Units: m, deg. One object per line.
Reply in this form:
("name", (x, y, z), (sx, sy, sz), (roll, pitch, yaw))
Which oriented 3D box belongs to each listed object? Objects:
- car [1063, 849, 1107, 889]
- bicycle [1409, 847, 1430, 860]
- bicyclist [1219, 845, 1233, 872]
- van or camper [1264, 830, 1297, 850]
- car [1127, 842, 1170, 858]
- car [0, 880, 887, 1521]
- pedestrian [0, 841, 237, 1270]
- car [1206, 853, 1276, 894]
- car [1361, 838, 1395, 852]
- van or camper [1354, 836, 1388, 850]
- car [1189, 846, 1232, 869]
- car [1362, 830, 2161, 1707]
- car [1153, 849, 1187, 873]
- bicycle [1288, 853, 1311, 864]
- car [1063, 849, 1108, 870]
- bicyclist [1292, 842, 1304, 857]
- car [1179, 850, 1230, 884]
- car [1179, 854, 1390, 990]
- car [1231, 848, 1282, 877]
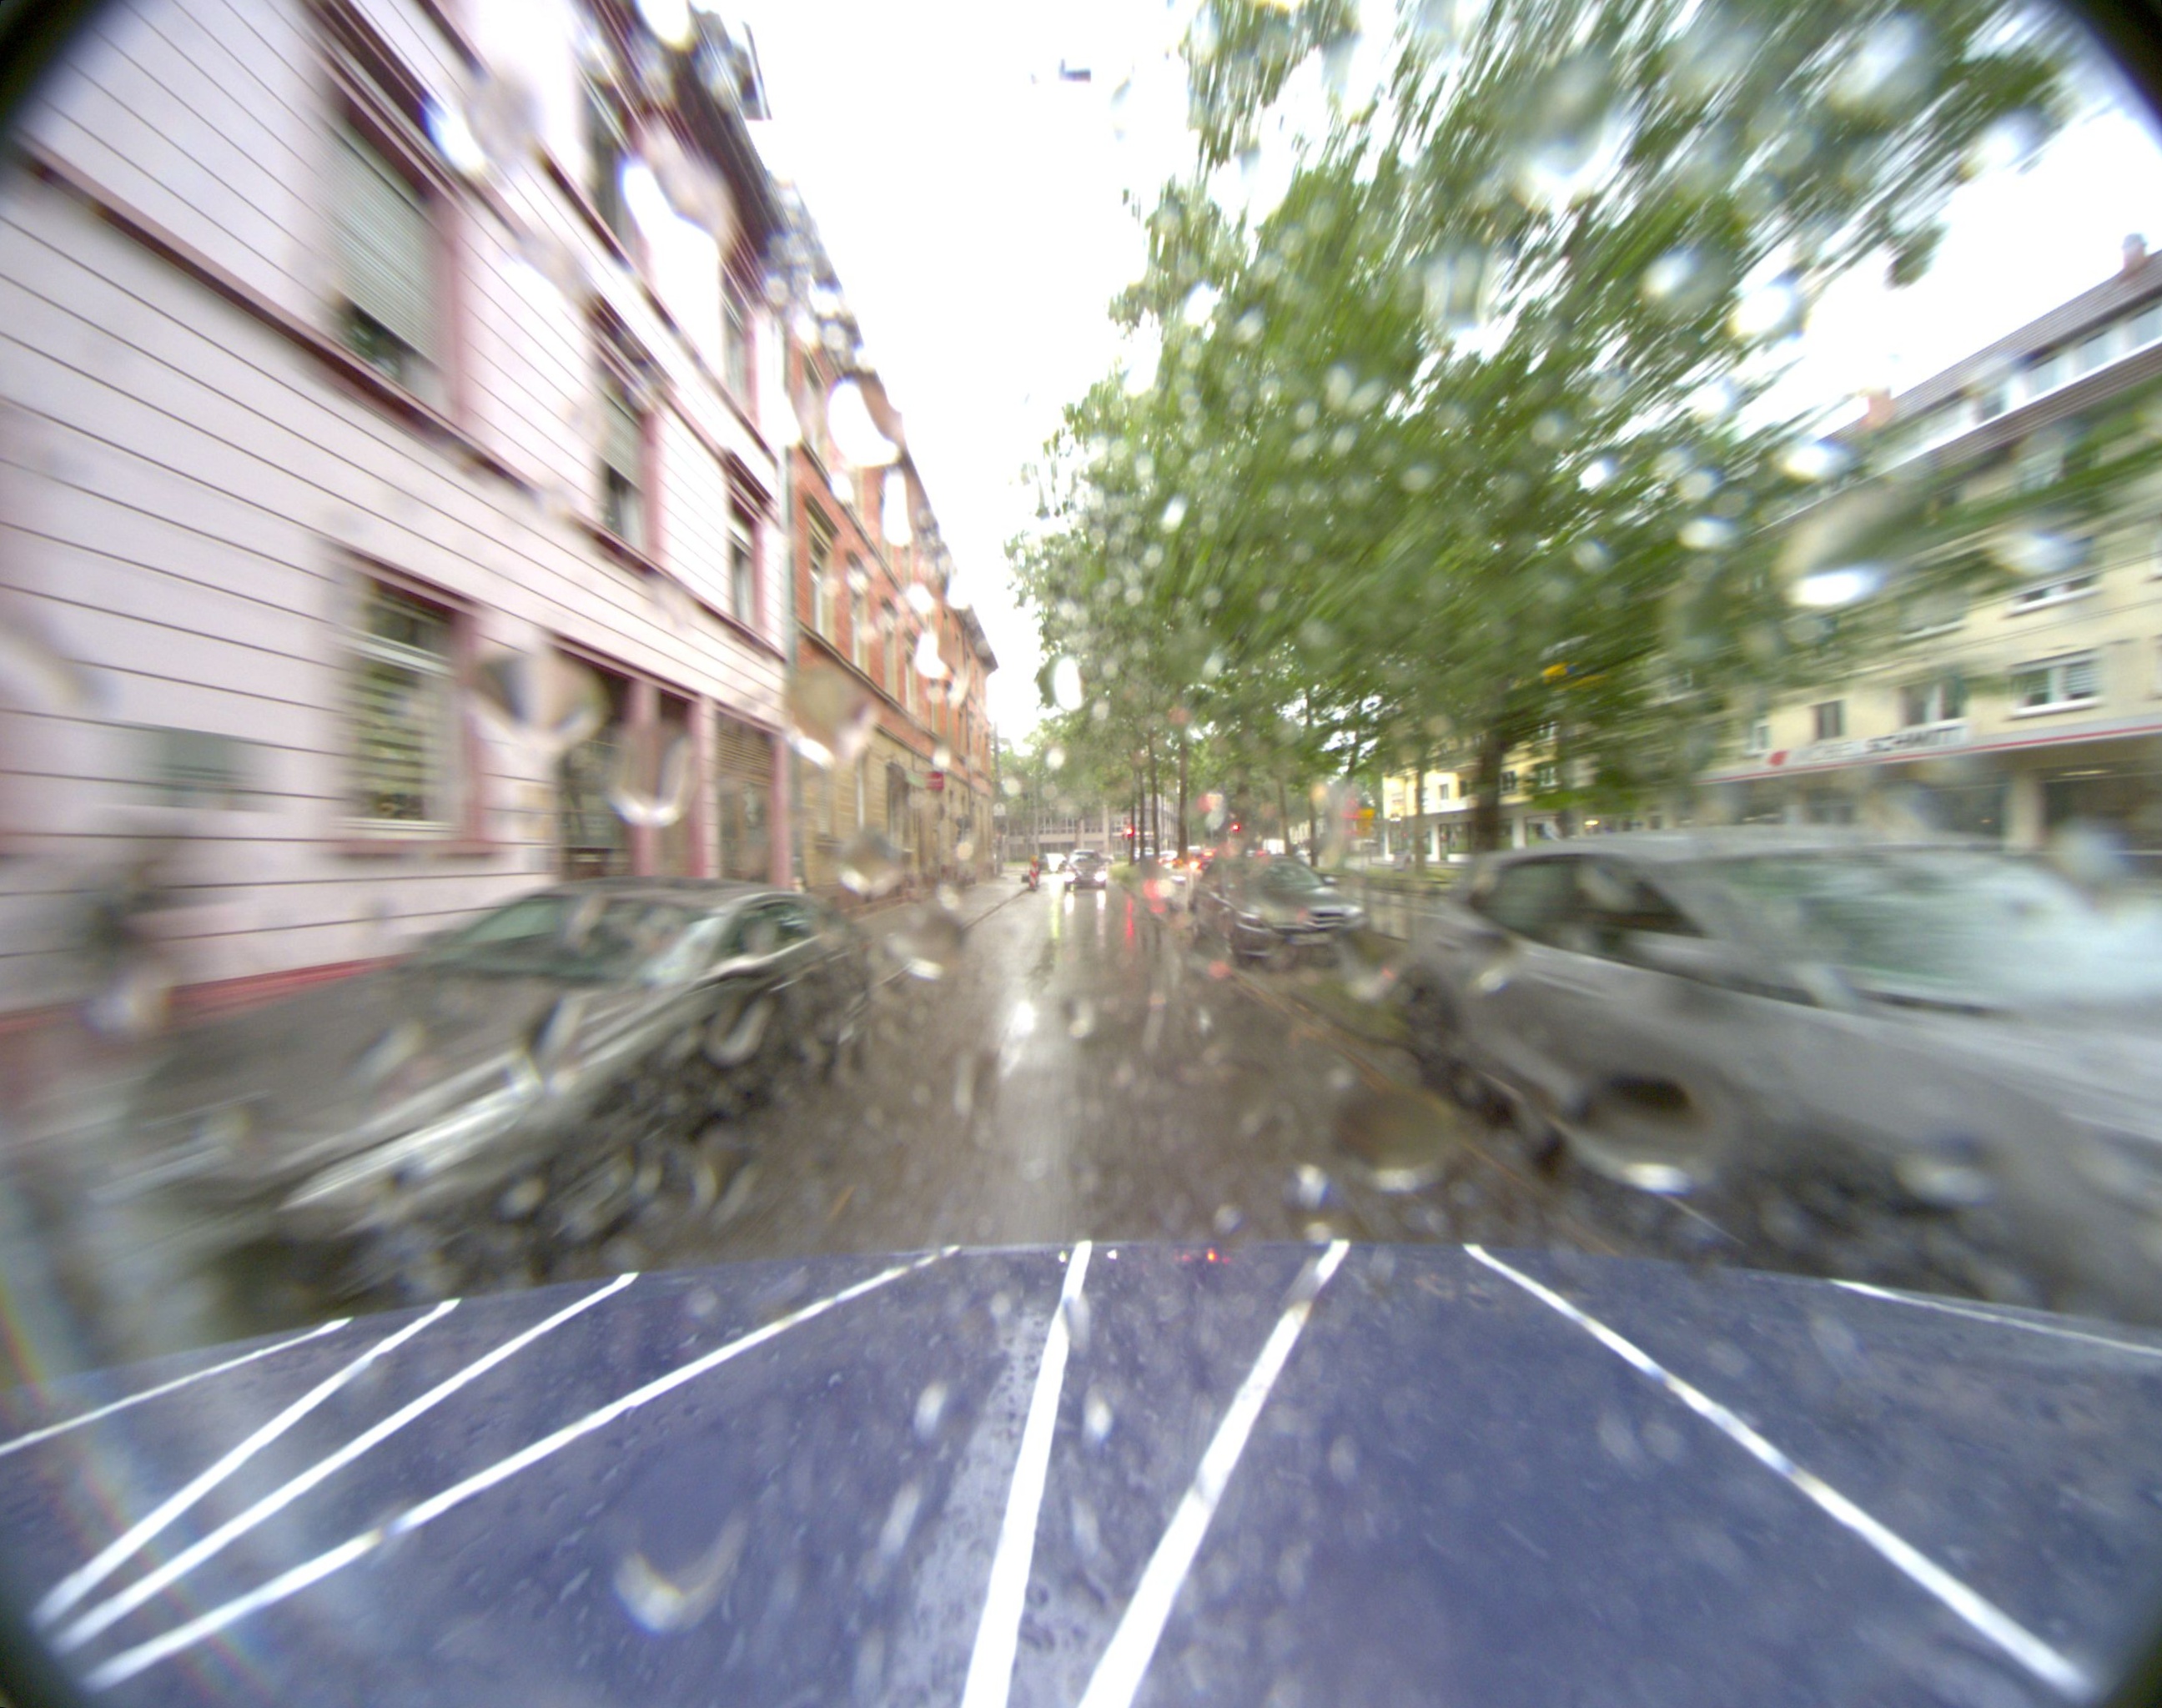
("car", (0.122, 0.657, 35.937), (1.913, 1.637, 4.678), (-2, 2, -1))
("bicycle", (24.625, -0.073, 55.264), (0.613, 0.891, 2.046), (-1, 1, 1))
("bicyclist", (9.225, 0.288, 48.414), (0.714, 1.706, 0.889), (-1, 2, 0))
("van or camper", (27.044, -1.927, 102.931), (2.176, 2.457, 5.981), (0, 2, 37))
("car", (7.615, -0.474, 85.622), (4.563, 1.650, 1.782), (-3, 2, -33))
("car", (-2.737, 0.981, 4.346), (1.818, 1.412, 4.697), (2, 1, 3))
("pedestrian", (-4.280, 0.787, 3.262), (0.640, 1.675, 0.603), (1, 1, -1))
("car", (6.058, 0.692, 29.222), (1.746, 1.389, 4.232), (-2, 0, 0))
("car", (42.927, -1.307, 109.986), (4.389, 2.002, 2.069), (-1, 2, 16))
("van or camper", (44.964, -1.675, 117.886), (4.647, 2.063, 2.001), (0, 1, 10))
("car", (8.880, 0.225, 52.420), (1.879, 1.493, 4.282), (-2, 0, -4))
("car", (2.652, 0.754, 2.798), (1.703, 1.626, 4.354), (-2, 1, 2))
("car", (5.905, 0.440, 51.017), (1.739, 1.480, 4.500), (-2, 0, 1))
("bicycle", (21.762, 0.435, 75.761), (1.997, 1.082, 0.819), (-2, 0, -4))
("car", (0.416, 0.530, 74.562), (4.002, 2.003, 1.997), (-1, 2, -14))
("bicyclist", (21.645, -0.426, 75.755), (0.805, 1.462, 0.927), (-2, 3, -10))
("car", (5.870, 0.573, 36.651), (1.746, 1.471, 4.431), (-2, 0, 0))
("car", (2.747, 0.812, 11.451), (1.833, 1.495, 4.612), (-3, 1, -1))
("car", (9.288, 0.408, 40.461), (1.746, 1.389, 4.130), (-2, 0, 0))
